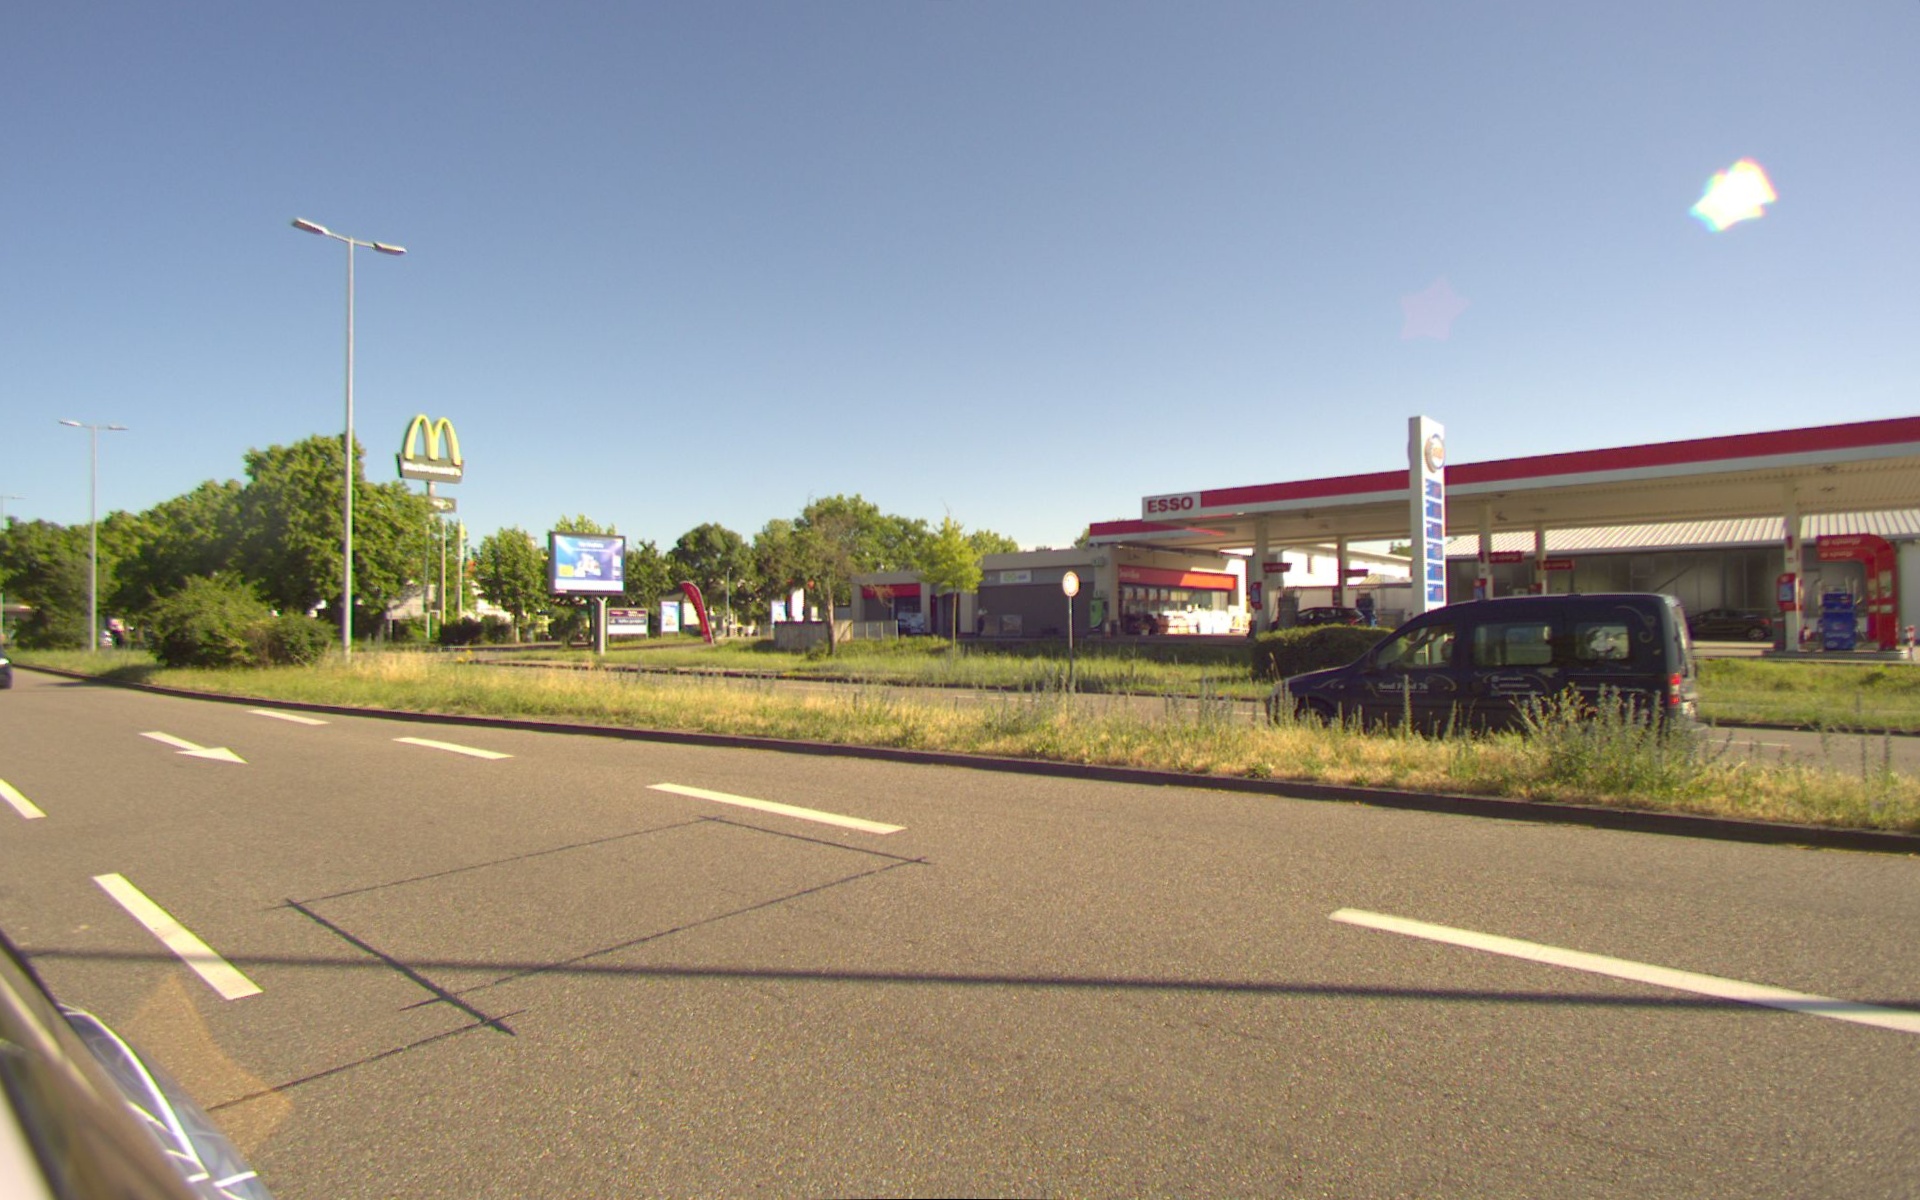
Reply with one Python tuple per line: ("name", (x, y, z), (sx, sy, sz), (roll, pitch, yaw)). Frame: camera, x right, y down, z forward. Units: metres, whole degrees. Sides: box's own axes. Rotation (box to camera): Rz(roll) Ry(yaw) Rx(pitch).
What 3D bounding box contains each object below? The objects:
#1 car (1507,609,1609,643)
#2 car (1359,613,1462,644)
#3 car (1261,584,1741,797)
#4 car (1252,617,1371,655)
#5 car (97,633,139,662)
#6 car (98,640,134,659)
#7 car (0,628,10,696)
("car", (28.196, 1.208, 47.768), (3.855, 1.500, 1.973), (-1, 0, 41))
("car", (23.412, 1.456, 52.683), (4.540, 1.477, 1.973), (-1, 0, 41))
("car", (5.634, 0.807, 10.877), (4.292, 1.862, 1.660), (-1, 0, 41))
("car", (13.922, 1.420, 40.201), (3.998, 1.416, 1.973), (-2, -2, 41))
("car", (-57.036, 3.214, 68.566), (3.705, 1.827, 1.628), (-1, 0, 41))
("car", (-82.388, 4.777, 98.796), (4.769, 1.640, 1.973), (-1, 0, 41))
("car", (-24.956, 1.534, 24.942), (4.580, 1.614, 1.765), (-2, -1, 41))
